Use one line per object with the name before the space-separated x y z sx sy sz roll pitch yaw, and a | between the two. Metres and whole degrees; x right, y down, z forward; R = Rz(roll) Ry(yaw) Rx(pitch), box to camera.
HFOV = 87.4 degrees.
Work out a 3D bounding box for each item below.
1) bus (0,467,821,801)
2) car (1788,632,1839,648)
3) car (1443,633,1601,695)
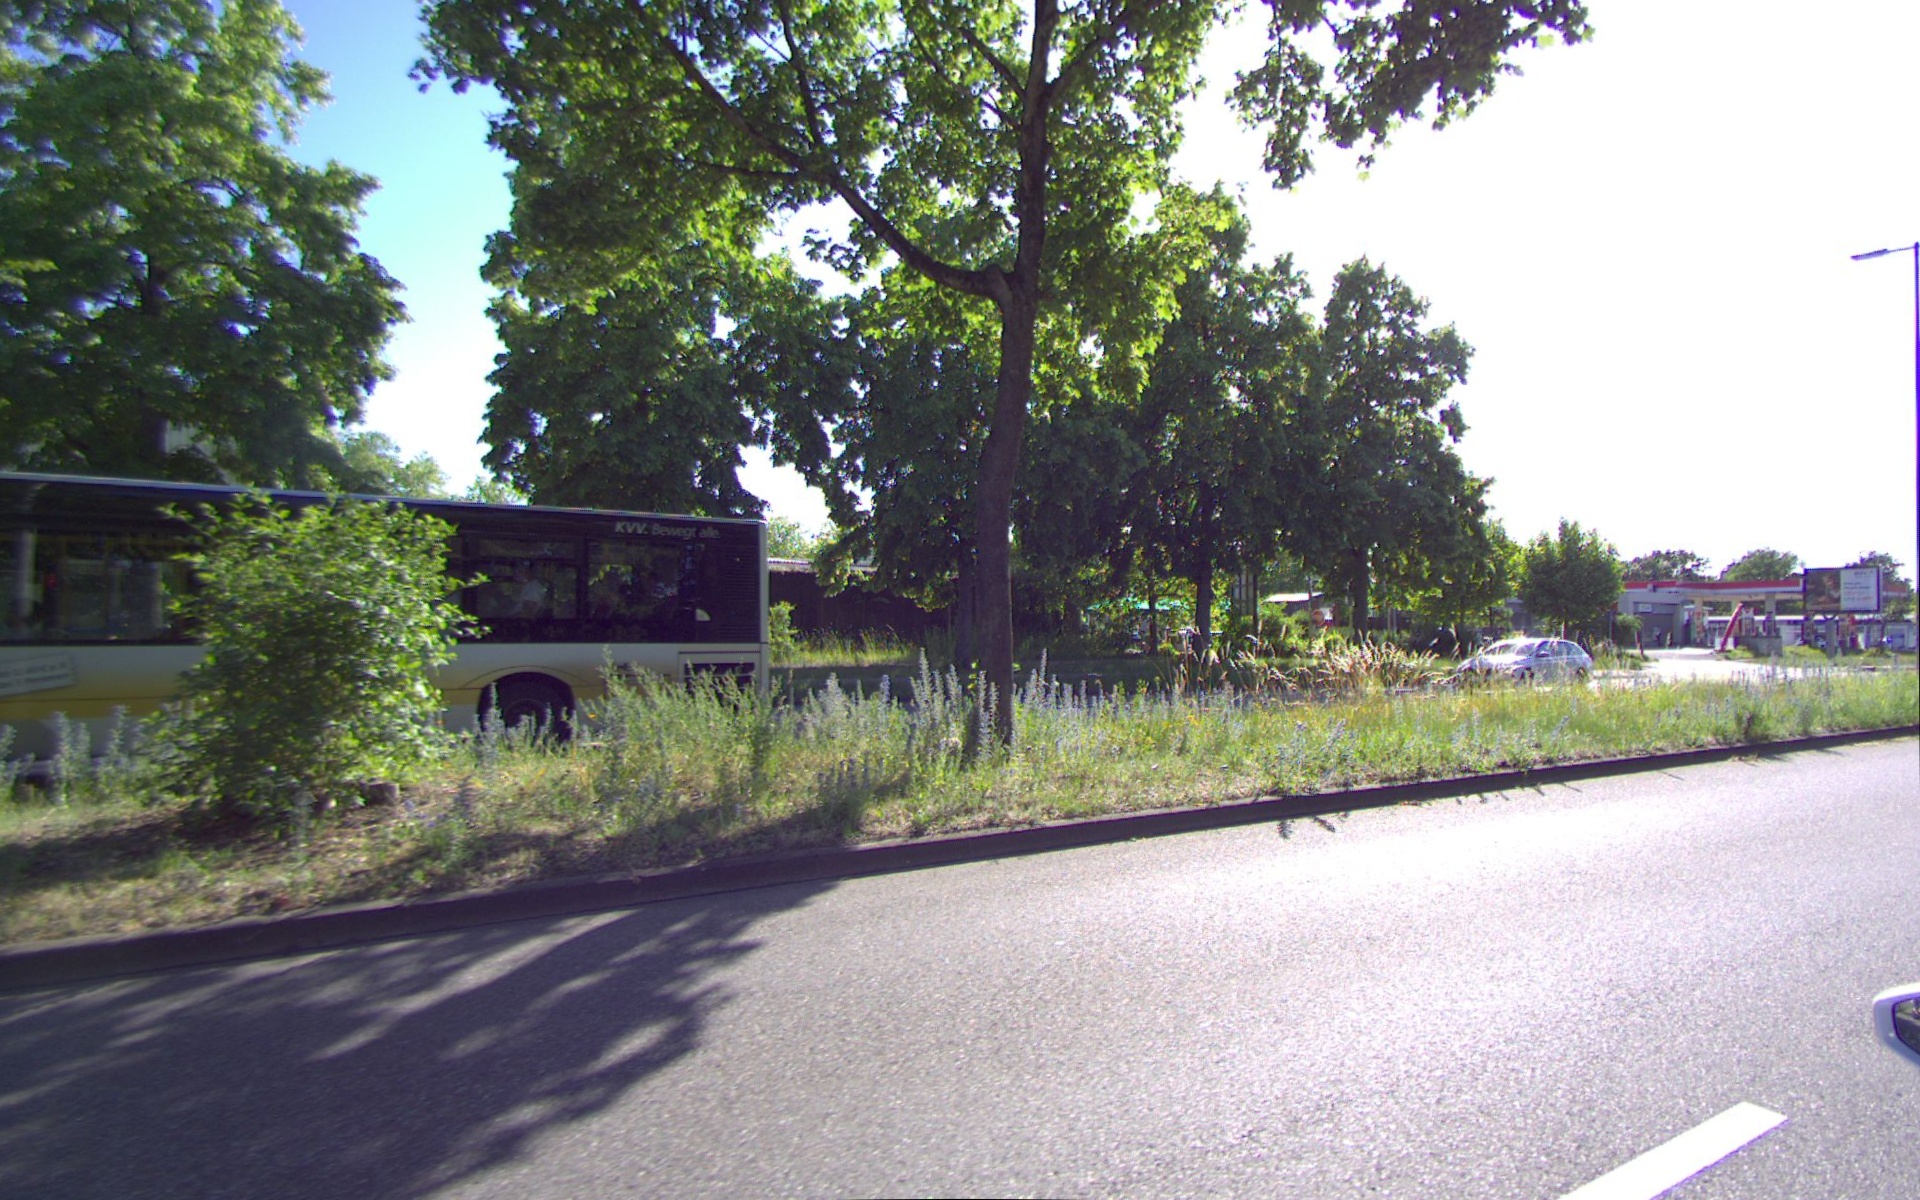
bus | -7.040 0.392 10.450 10.963 2.756 2.708 1 -4 -32
car | 103.292 4.839 121.609 1.979 1.867 4.359 2 -2 -33
car | 15.352 1.706 27.390 4.477 1.540 1.747 1 -4 -31
